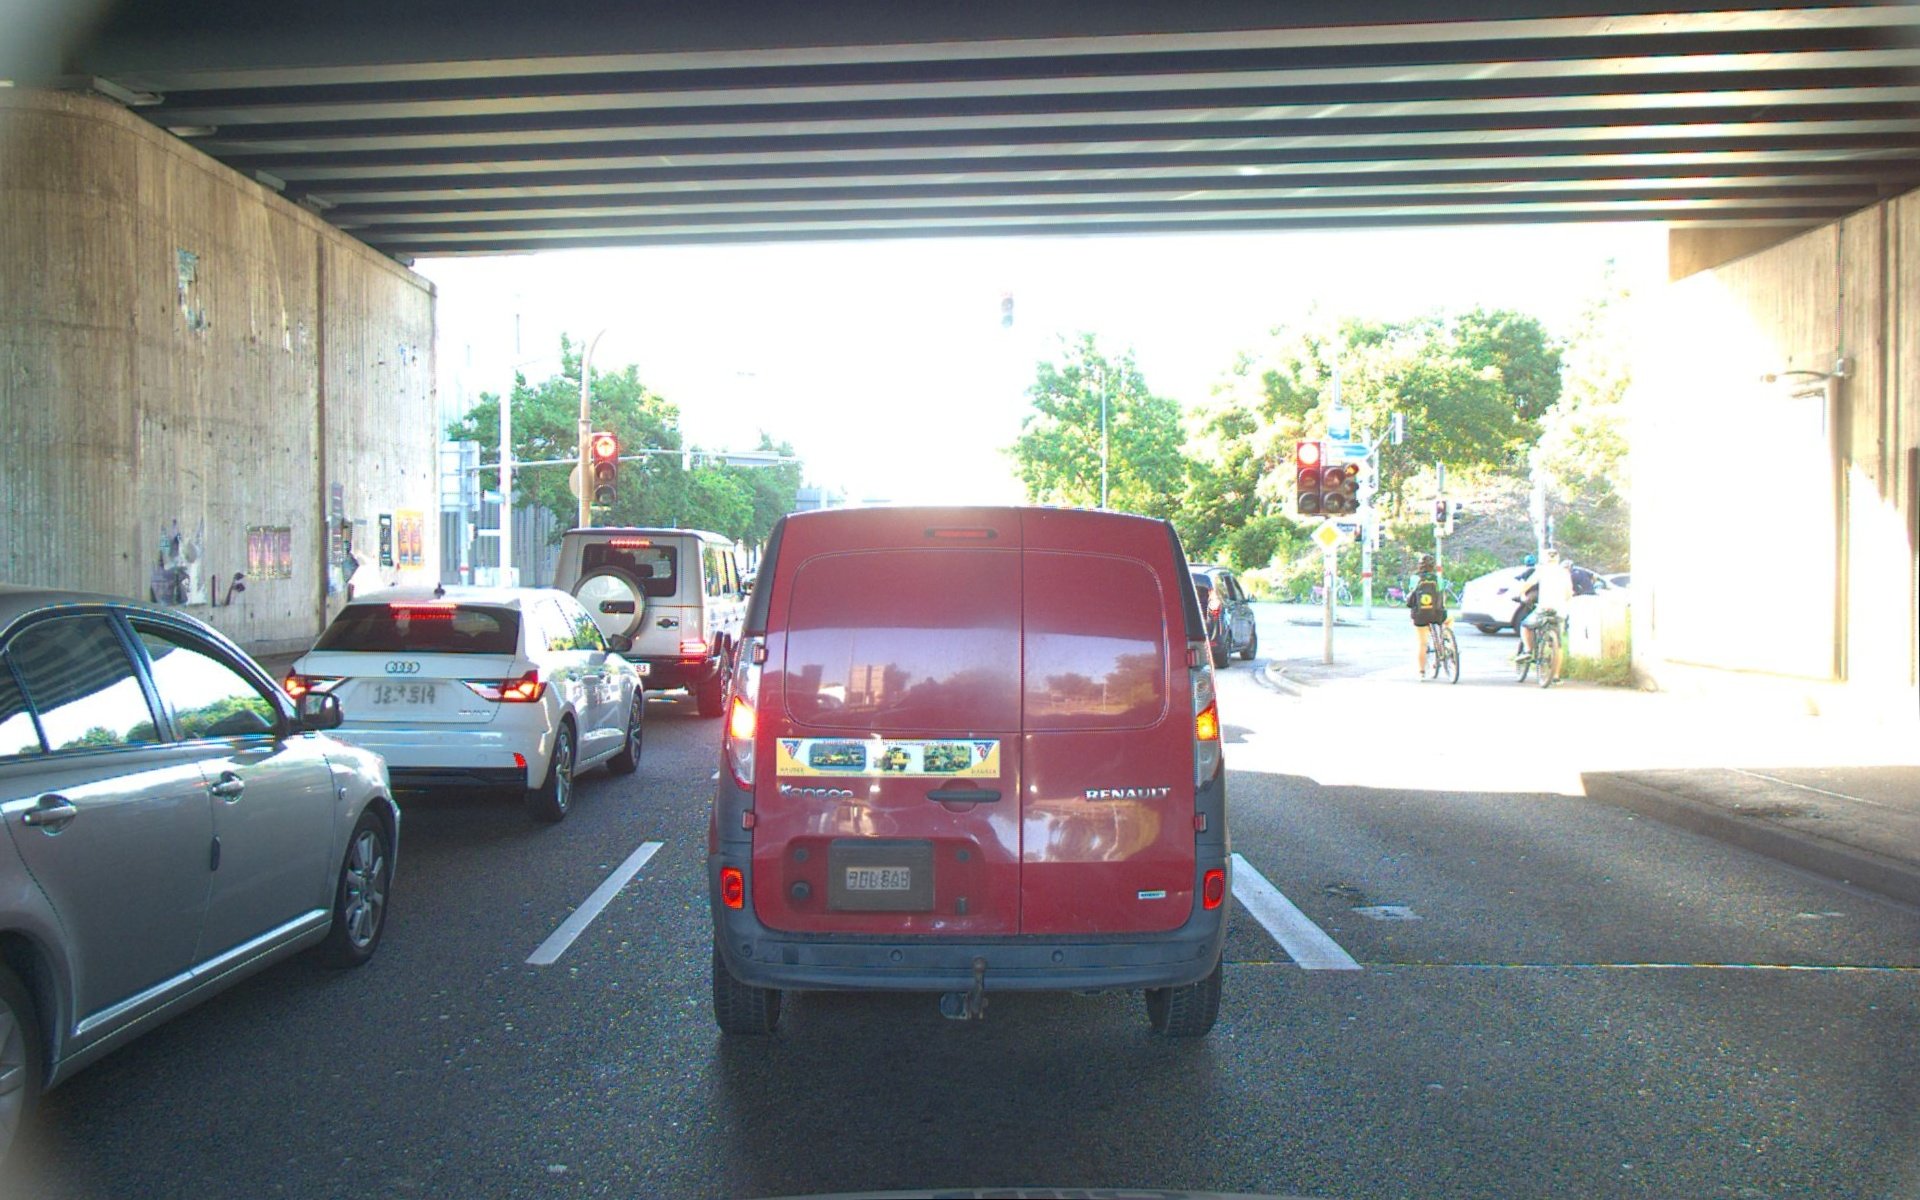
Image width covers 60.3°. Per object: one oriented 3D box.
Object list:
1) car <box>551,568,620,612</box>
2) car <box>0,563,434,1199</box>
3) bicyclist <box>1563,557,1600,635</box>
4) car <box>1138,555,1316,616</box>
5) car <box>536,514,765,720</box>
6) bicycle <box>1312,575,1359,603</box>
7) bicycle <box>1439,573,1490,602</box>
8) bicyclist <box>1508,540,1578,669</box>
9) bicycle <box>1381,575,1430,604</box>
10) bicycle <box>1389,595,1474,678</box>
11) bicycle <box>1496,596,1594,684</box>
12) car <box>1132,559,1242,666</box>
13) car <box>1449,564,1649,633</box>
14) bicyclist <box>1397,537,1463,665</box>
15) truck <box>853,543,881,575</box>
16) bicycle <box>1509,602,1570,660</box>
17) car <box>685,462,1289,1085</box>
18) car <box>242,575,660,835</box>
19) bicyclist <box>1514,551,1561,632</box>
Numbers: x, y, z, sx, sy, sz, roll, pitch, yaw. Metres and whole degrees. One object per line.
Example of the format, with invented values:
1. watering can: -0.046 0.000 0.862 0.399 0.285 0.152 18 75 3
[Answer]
1. car: -16.113 -0.443 71.386 1.787 1.768 4.630 -2 1 1
2. car: -3.011 0.664 4.851 1.698 1.506 4.317 0 0 -2
3. bicyclist: 12.197 -0.082 32.473 0.635 1.506 0.618 1 1 18
4. car: 7.273 -0.375 45.208 4.462 1.540 1.825 1 0 -8
5. car: -3.357 0.180 18.778 1.764 2.023 4.588 1 0 -1
6. bicycle: 14.207 -0.425 62.601 1.707 1.041 0.594 1 0 8
7. bicycle: 18.357 -0.445 60.218 1.707 1.041 0.594 1 0 10
8. bicyclist: 7.322 0.059 20.783 0.580 1.575 0.769 1 -1 -1
9. bicycle: 16.474 -0.392 61.173 1.707 1.041 0.594 1 0 8
10. bicycle: 6.208 0.470 21.850 0.579 1.041 1.750 1 0 -1
11. bicycle: 7.326 0.485 20.787 0.579 1.041 1.750 1 0 -1
12. car: 4.025 0.189 28.846 1.682 1.736 3.985 0 0 11
13. car: 13.888 -0.040 39.091 4.107 1.570 1.881 0 0 -13
14. bicyclist: 6.200 0.010 21.849 0.580 1.642 0.942 1 0 -1
15. truck: -9.525 -4.156 169.668 2.360 3.079 6.657 -2 1 0
16. bicycle: 10.898 0.572 31.154 0.657 1.041 2.057 1 0 7
17. car: 0.057 0.527 6.917 1.768 1.826 3.999 1 0 -1
18. car: -3.256 0.576 11.350 1.777 1.463 3.730 1 1 -1
19. bicyclist: 10.910 -0.153 31.252 0.651 1.500 0.751 1 -1 5
